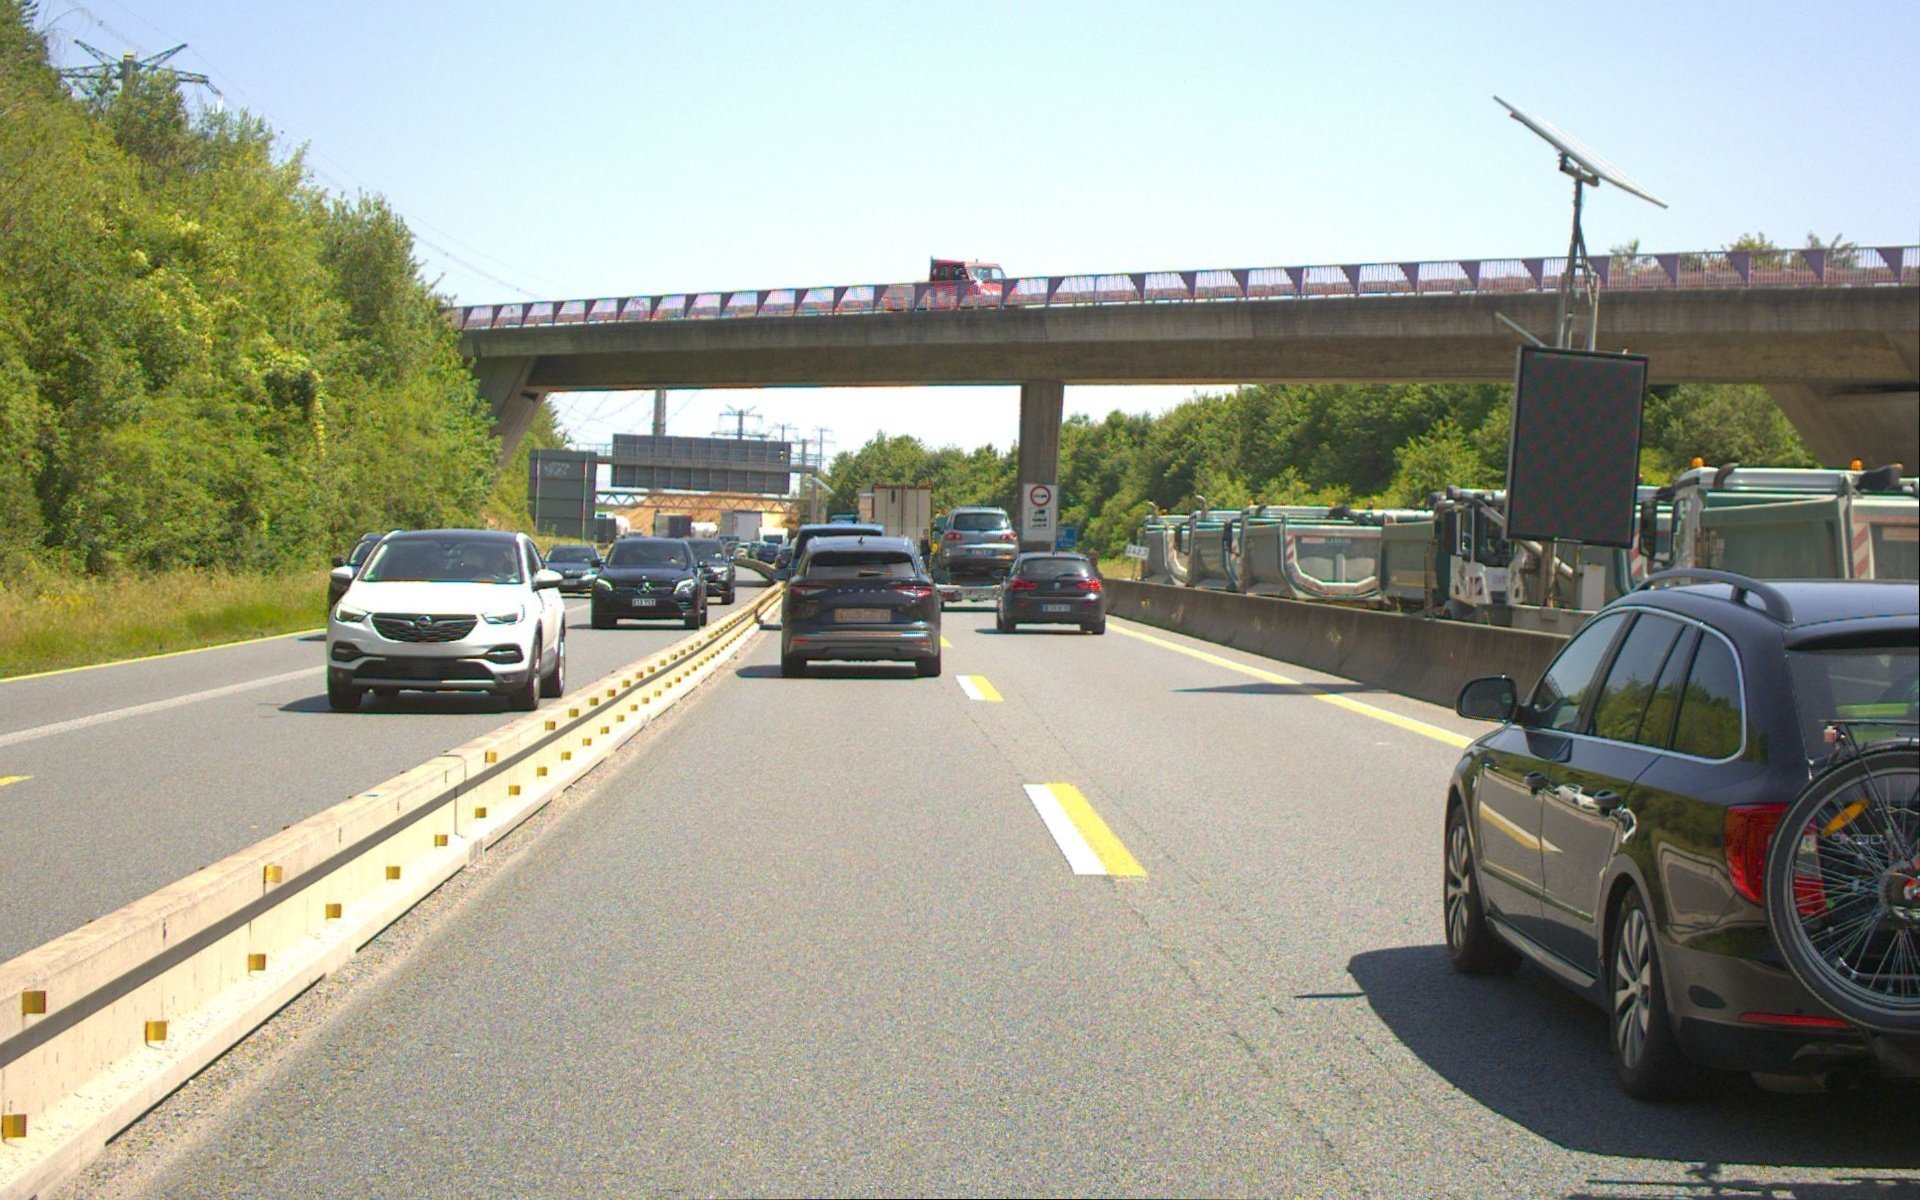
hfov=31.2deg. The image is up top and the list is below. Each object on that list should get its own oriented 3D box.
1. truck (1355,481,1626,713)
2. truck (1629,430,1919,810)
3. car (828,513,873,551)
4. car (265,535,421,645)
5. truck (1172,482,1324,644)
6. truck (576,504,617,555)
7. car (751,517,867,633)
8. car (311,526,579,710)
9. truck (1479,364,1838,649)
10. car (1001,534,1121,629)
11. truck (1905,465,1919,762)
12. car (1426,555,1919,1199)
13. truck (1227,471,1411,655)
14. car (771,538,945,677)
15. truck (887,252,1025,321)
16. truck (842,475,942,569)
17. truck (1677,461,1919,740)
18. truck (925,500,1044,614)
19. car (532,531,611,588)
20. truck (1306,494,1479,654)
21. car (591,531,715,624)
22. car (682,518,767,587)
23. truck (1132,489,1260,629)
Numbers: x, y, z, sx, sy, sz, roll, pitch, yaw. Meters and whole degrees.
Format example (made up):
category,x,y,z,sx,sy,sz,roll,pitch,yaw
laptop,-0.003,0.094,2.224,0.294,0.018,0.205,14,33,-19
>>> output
category,x,y,z,sx,sy,sz,roll,pitch,yaw
truck,8.736,-0.130,57.813,2.687,3.545,9.326,1,1,-2
truck,9.516,0.124,36.841,2.687,3.545,9.407,1,1,-1
car,-5.823,-3.589,182.520,1.899,1.962,4.277,1,1,-8
car,-9.309,-0.182,52.097,1.699,1.560,3.995,2,1,-1
truck,7.213,-0.966,87.309,2.687,3.842,9.326,1,1,-2
truck,-23.753,-4.608,224.493,2.508,3.175,10.112,1,1,-6
car,-2.672,-0.459,61.724,1.899,1.962,4.276,1,1,-1
car,-4.662,0.110,31.729,1.843,1.528,4.671,1,1,-1
truck,9.515,-1.260,48.014,2.687,3.545,9.326,1,1,-2
car,1.743,-0.346,60.698,1.899,1.580,4.276,1,1,-1
truck,12.281,0.250,34.707,2.687,3.366,9.603,1,1,-1
car,2.686,0.639,10.018,1.899,1.485,4.948,1,1,-1
truck,7.764,-0.844,75.571,2.687,3.748,9.326,1,1,-2
car,-1.155,0.051,40.275,1.899,1.500,4.276,1,1,-1
truck,-0.171,-11.127,122.339,1.931,2.059,5.514,1,1,-37
truck,-2.996,-3.312,147.616,3.292,3.832,10.112,1,1,-6
truck,12.264,-0.062,46.468,2.687,3.366,9.604,1,1,-3
truck,0.526,-1.066,81.900,2.405,2.549,7.501,1,1,-2
car,-10.654,-1.134,94.558,1.723,1.516,4.185,1,1,-1
truck,10.615,-0.691,85.318,2.687,3.714,9.326,1,1,-2
car,-5.431,-0.426,61.281,1.843,1.528,4.671,2,1,-1
car,-5.855,-1.200,85.989,1.843,1.605,4.699,2,1,-1
truck,6.746,-1.211,99.555,2.687,3.830,9.326,1,1,-2
